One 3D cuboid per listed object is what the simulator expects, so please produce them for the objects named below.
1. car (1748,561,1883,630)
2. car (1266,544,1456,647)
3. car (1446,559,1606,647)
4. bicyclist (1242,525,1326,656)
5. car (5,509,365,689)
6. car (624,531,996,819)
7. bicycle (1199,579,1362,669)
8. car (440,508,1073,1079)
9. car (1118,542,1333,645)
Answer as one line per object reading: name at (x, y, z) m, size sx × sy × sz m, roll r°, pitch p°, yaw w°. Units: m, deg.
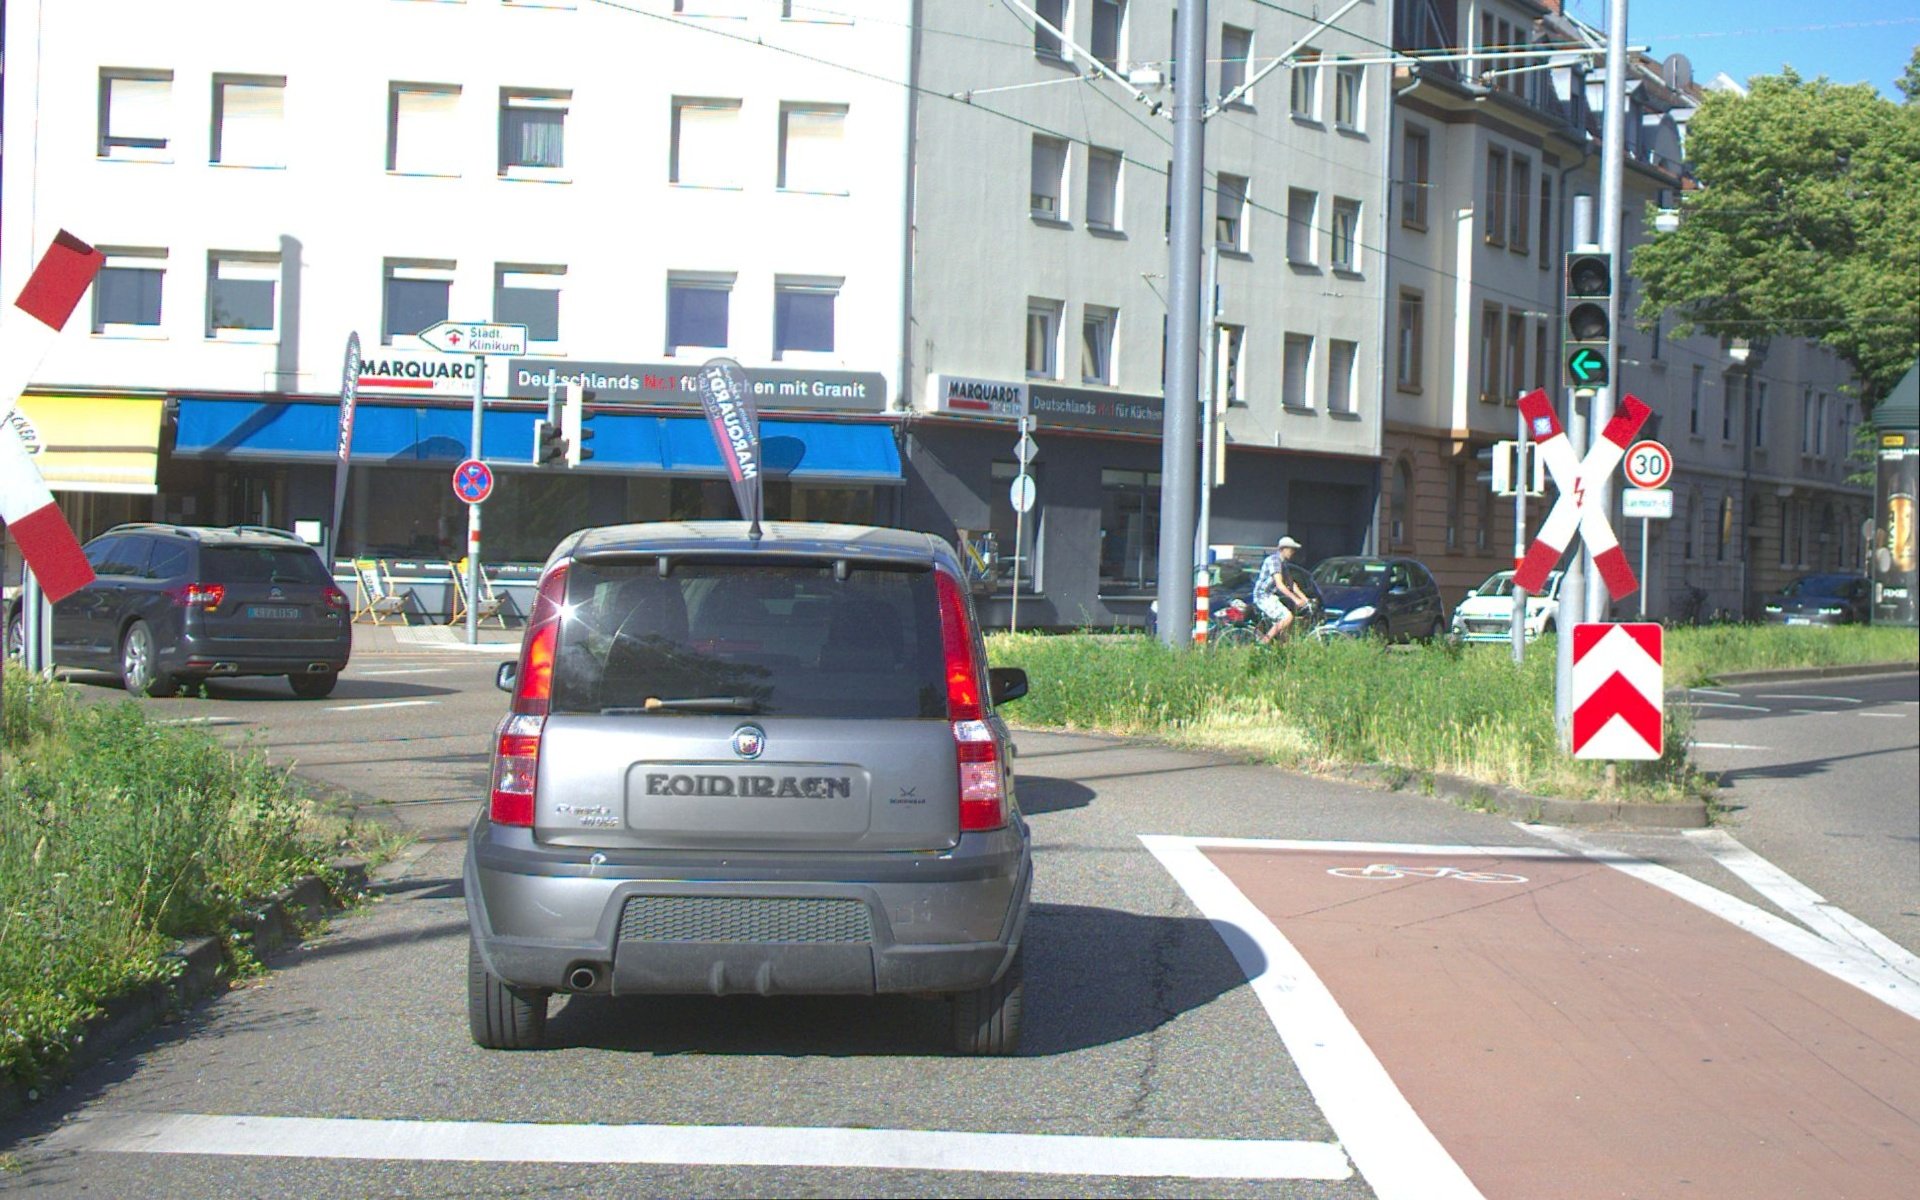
car at (19.570, -0.095, 78.525) m, size 1.997 × 1.468 × 3.993 m, roll 2°, pitch 1°, yaw 29°
car at (6.552, -0.077, 55.842) m, size 1.793 × 1.560 × 3.760 m, roll 2°, pitch 1°, yaw 27°
car at (10.257, 0.047, 62.115) m, size 1.793 × 1.478 × 3.526 m, roll 2°, pitch 1°, yaw 27°
bicyclist at (3.943, -0.116, 41.825) m, size 0.822 × 1.553 × 0.561 m, roll 2°, pitch 1°, yaw 25°
car at (-7.101, -0.044, 31.194) m, size 1.760 × 1.481 × 4.293 m, roll 1°, pitch 1°, yaw -33°
car at (-0.934, 0.350, 19.320) m, size 1.620 × 1.424 × 3.689 m, roll 2°, pitch 1°, yaw -9°
bicycle at (3.896, 0.284, 41.849) m, size 1.854 × 1.029 × 0.588 m, roll 2°, pitch 1°, yaw 25°
car at (-0.716, 0.500, 10.893) m, size 1.659 × 1.505 × 3.252 m, roll 2°, pitch 1°, yaw -6°
car at (3.944, -0.095, 50.599) m, size 1.793 × 1.391 × 3.719 m, roll 2°, pitch 1°, yaw 27°
